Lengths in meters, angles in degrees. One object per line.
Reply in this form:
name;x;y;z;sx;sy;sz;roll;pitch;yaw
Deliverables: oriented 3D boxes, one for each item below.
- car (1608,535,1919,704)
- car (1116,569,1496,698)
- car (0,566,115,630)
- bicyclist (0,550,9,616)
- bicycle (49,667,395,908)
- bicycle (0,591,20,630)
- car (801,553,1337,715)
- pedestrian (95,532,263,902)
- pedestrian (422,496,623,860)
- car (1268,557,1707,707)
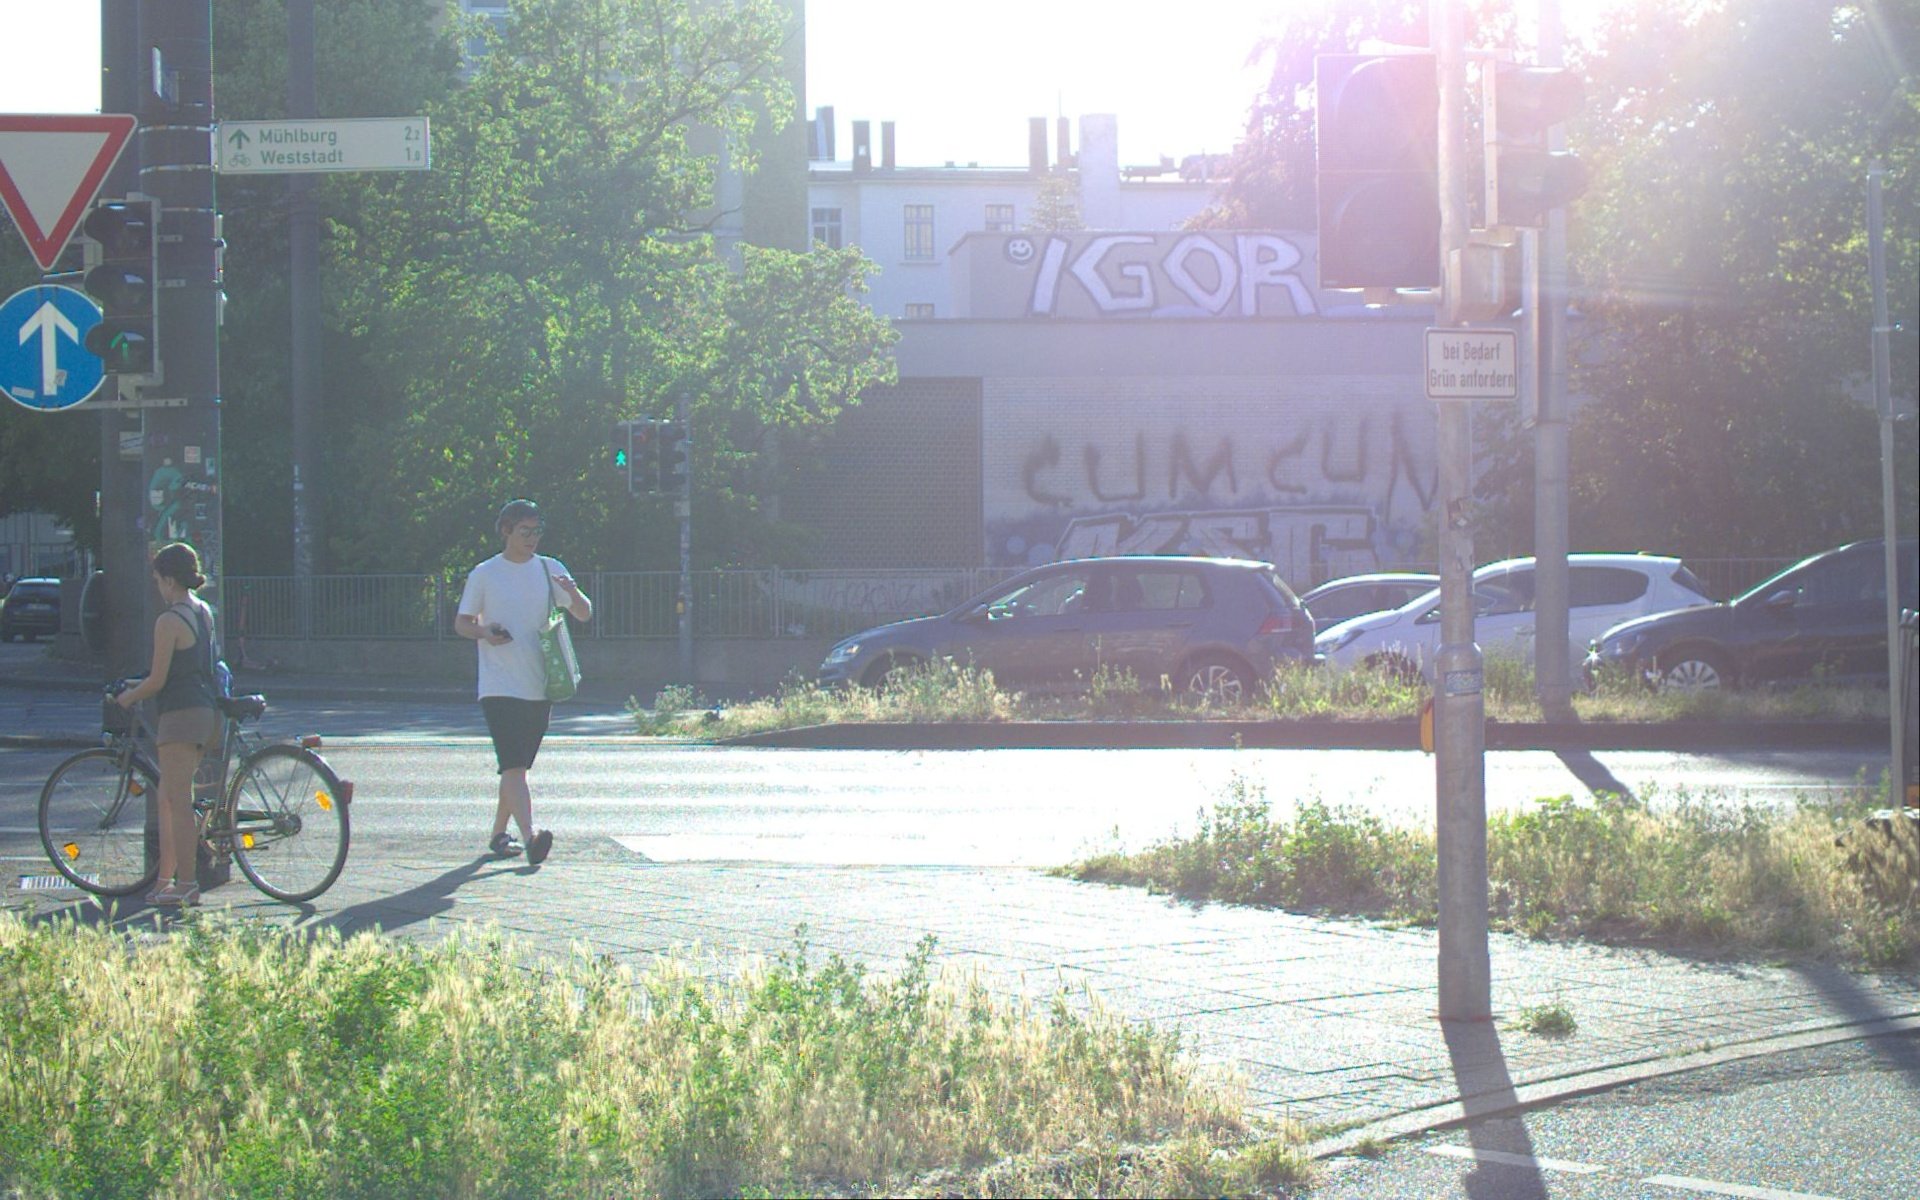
car;7.404;0.137;27.420;4.364;1.292;1.723;-1;1;10
car;3.662;0.338;36.183;3.883;1.292;1.724;-1;1;8
car;-20.315;-0.059;77.254;1.785;1.383;4.000;-1;1;-2
bicyclist;-22.356;-0.393;79.221;0.673;1.517;0.813;-1;0;-3
bicycle;-3.341;0.825;15.507;1.669;1.026;0.399;0;1;29
bicycle;-22.354;0.241;79.580;0.695;0.874;2.027;-1;1;-2
car;0.944;0.278;28.780;4.237;1.292;1.723;-1;1;12
pedestrian;-3.510;0.513;15.454;0.524;1.626;0.489;0;0;29
pedestrian;-2.222;0.376;17.385;0.908;1.783;0.827;-1;0;-13
car;4.837;0.285;31.701;3.883;1.315;1.724;-1;1;8
